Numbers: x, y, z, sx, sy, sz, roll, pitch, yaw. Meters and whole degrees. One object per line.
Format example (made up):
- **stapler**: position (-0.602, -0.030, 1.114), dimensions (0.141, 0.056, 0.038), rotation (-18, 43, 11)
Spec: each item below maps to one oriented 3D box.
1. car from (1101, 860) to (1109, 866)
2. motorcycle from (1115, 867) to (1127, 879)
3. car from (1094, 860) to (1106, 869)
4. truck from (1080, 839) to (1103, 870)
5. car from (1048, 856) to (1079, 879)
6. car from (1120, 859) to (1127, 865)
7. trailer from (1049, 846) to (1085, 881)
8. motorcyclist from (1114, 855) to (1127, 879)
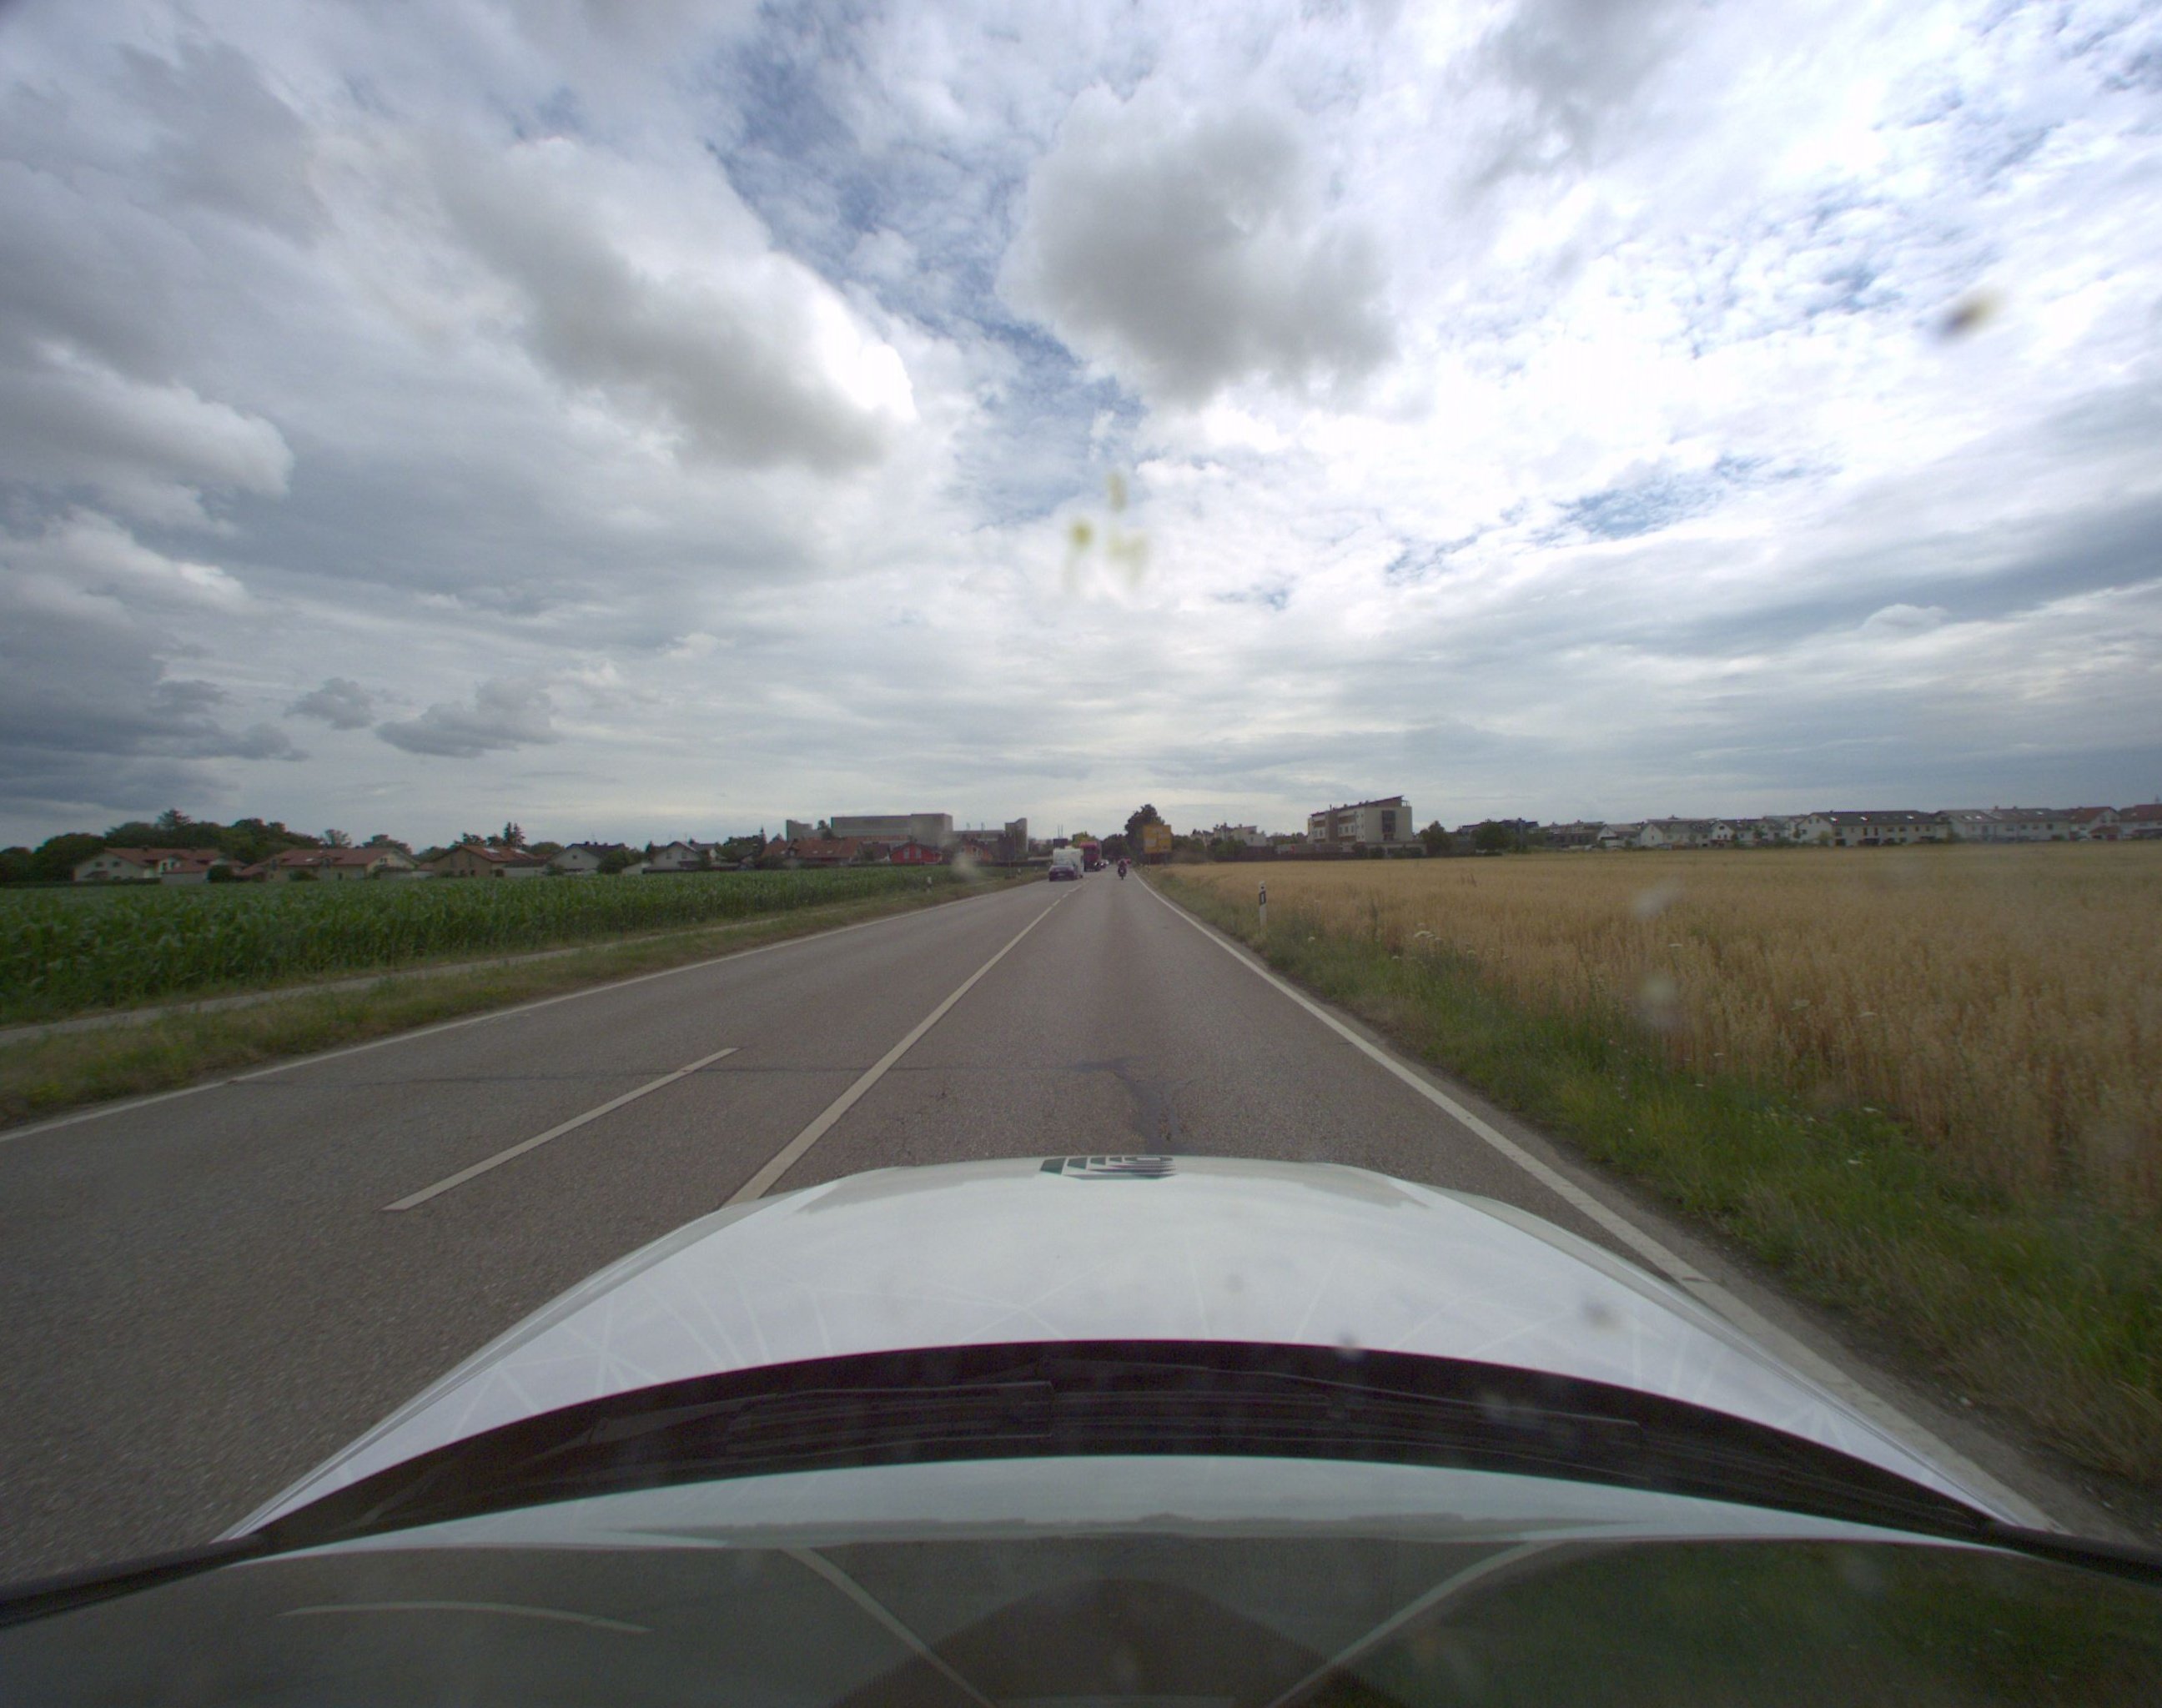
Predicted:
- **car**: position (5.551, 2.070, 190.157), dimensions (1.848, 1.473, 4.001), rotation (-1, -1, 1)
- **motorcycle**: position (3.027, 1.431, 61.548), dimensions (0.937, 0.890, 2.147), rotation (-1, -1, 3)
- **car**: position (3.208, 1.728, 137.575), dimensions (1.848, 1.473, 4.001), rotation (-1, -1, 1)
- **truck**: position (1.441, 0.110, 109.292), dimensions (2.718, 3.987, 6.822), rotation (-2, -1, 3)
- **car**: position (-1.313, 1.018, 62.754), dimensions (1.985, 1.699, 4.679), rotation (-2, -1, 3)
- **car**: position (10.965, 2.134, 210.960), dimensions (1.847, 1.473, 4.003), rotation (-1, -1, 3)
- **trailer**: position (-1.103, 0.770, 68.723), dimensions (2.314, 2.729, 7.850), rotation (-2, -1, 3)
- **motorcyclist**: position (3.021, 0.987, 61.610), dimensions (0.937, 1.750, 1.201), rotation (-1, -1, 3)
